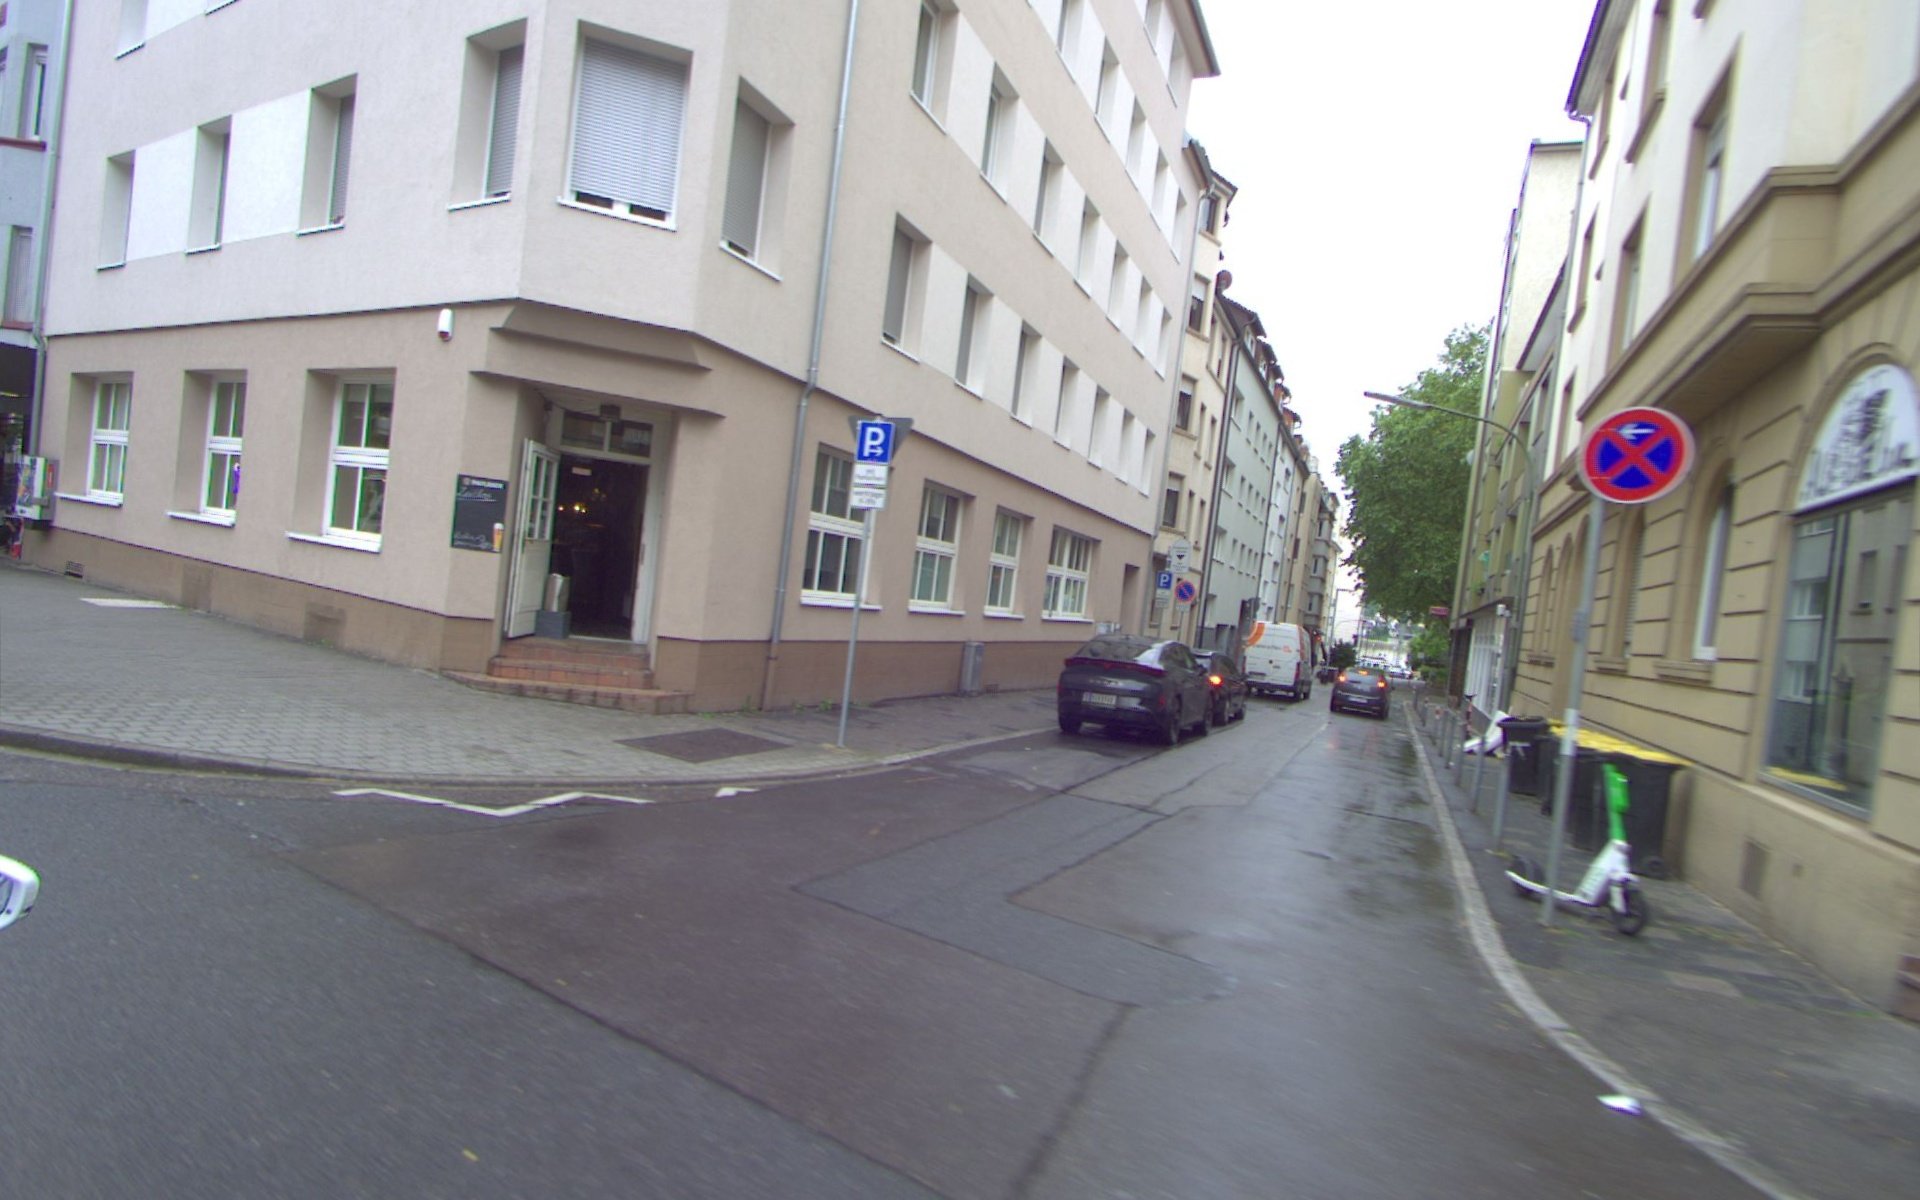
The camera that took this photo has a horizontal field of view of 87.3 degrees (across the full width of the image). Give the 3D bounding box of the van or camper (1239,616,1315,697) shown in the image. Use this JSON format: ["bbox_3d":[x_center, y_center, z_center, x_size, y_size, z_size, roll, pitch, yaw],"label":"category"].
[{"bbox_3d":[11.533,2.120,36.334,1.964,2.519,4.968,5,-3,23],"label":"van or camper"}]

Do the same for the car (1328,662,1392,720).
[{"bbox_3d":[13.116,2.934,33.013,1.705,1.591,4.000,5,-1,22],"label":"car"}]

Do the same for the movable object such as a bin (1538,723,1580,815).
[{"bbox_3d":[7.360,2.067,12.369,0.331,1.057,0.387,5,-2,27],"label":"movable object such as a bin"}]

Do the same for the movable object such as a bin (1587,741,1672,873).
[{"bbox_3d":[5.940,1.821,8.949,0.516,1.057,0.343,7,-1,33],"label":"movable object such as a bin"}]

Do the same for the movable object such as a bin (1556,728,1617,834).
[{"bbox_3d":[6.876,1.977,11.057,0.452,1.058,0.348,5,0,24],"label":"movable object such as a bin"}]

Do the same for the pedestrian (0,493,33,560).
[{"bbox_3d":[-17.925,-1.394,19.087,0.351,1.219,0.412,8,4,35],"label":"pedestrian"}]

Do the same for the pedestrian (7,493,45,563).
[{"bbox_3d":[-17.111,-1.317,18.436,0.351,1.219,0.412,8,4,35],"label":"pedestrian"}]

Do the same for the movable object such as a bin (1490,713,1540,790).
[{"bbox_3d":[7.889,2.142,14.294,0.496,1.006,0.447,5,-3,36],"label":"movable object such as a bin"}]

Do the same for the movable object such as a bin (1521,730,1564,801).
[{"bbox_3d":[7.943,2.247,13.717,0.417,0.901,0.337,5,-2,27],"label":"movable object such as a bin"}]

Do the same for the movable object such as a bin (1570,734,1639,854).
[{"bbox_3d":[6.341,1.898,9.915,0.434,1.078,0.349,5,-2,22],"label":"movable object such as a bin"}]

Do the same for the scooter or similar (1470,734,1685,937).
[{"bbox_3d":[4.238,1.574,7.014,0.458,1.142,1.376,3,-2,-10],"label":"scooter or similar"}]

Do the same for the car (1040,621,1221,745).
[{"bbox_3d":[2.934,1.311,16.504,2.010,1.570,4.000,5,-1,22],"label":"car"}]

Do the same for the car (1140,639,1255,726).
[{"bbox_3d":[5.179,1.720,21.554,1.705,1.510,4.000,5,-1,22],"label":"car"}]

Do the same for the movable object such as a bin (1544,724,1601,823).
[{"bbox_3d":[7.097,2.003,11.673,0.452,1.057,0.349,5,-2,27],"label":"movable object such as a bin"}]
